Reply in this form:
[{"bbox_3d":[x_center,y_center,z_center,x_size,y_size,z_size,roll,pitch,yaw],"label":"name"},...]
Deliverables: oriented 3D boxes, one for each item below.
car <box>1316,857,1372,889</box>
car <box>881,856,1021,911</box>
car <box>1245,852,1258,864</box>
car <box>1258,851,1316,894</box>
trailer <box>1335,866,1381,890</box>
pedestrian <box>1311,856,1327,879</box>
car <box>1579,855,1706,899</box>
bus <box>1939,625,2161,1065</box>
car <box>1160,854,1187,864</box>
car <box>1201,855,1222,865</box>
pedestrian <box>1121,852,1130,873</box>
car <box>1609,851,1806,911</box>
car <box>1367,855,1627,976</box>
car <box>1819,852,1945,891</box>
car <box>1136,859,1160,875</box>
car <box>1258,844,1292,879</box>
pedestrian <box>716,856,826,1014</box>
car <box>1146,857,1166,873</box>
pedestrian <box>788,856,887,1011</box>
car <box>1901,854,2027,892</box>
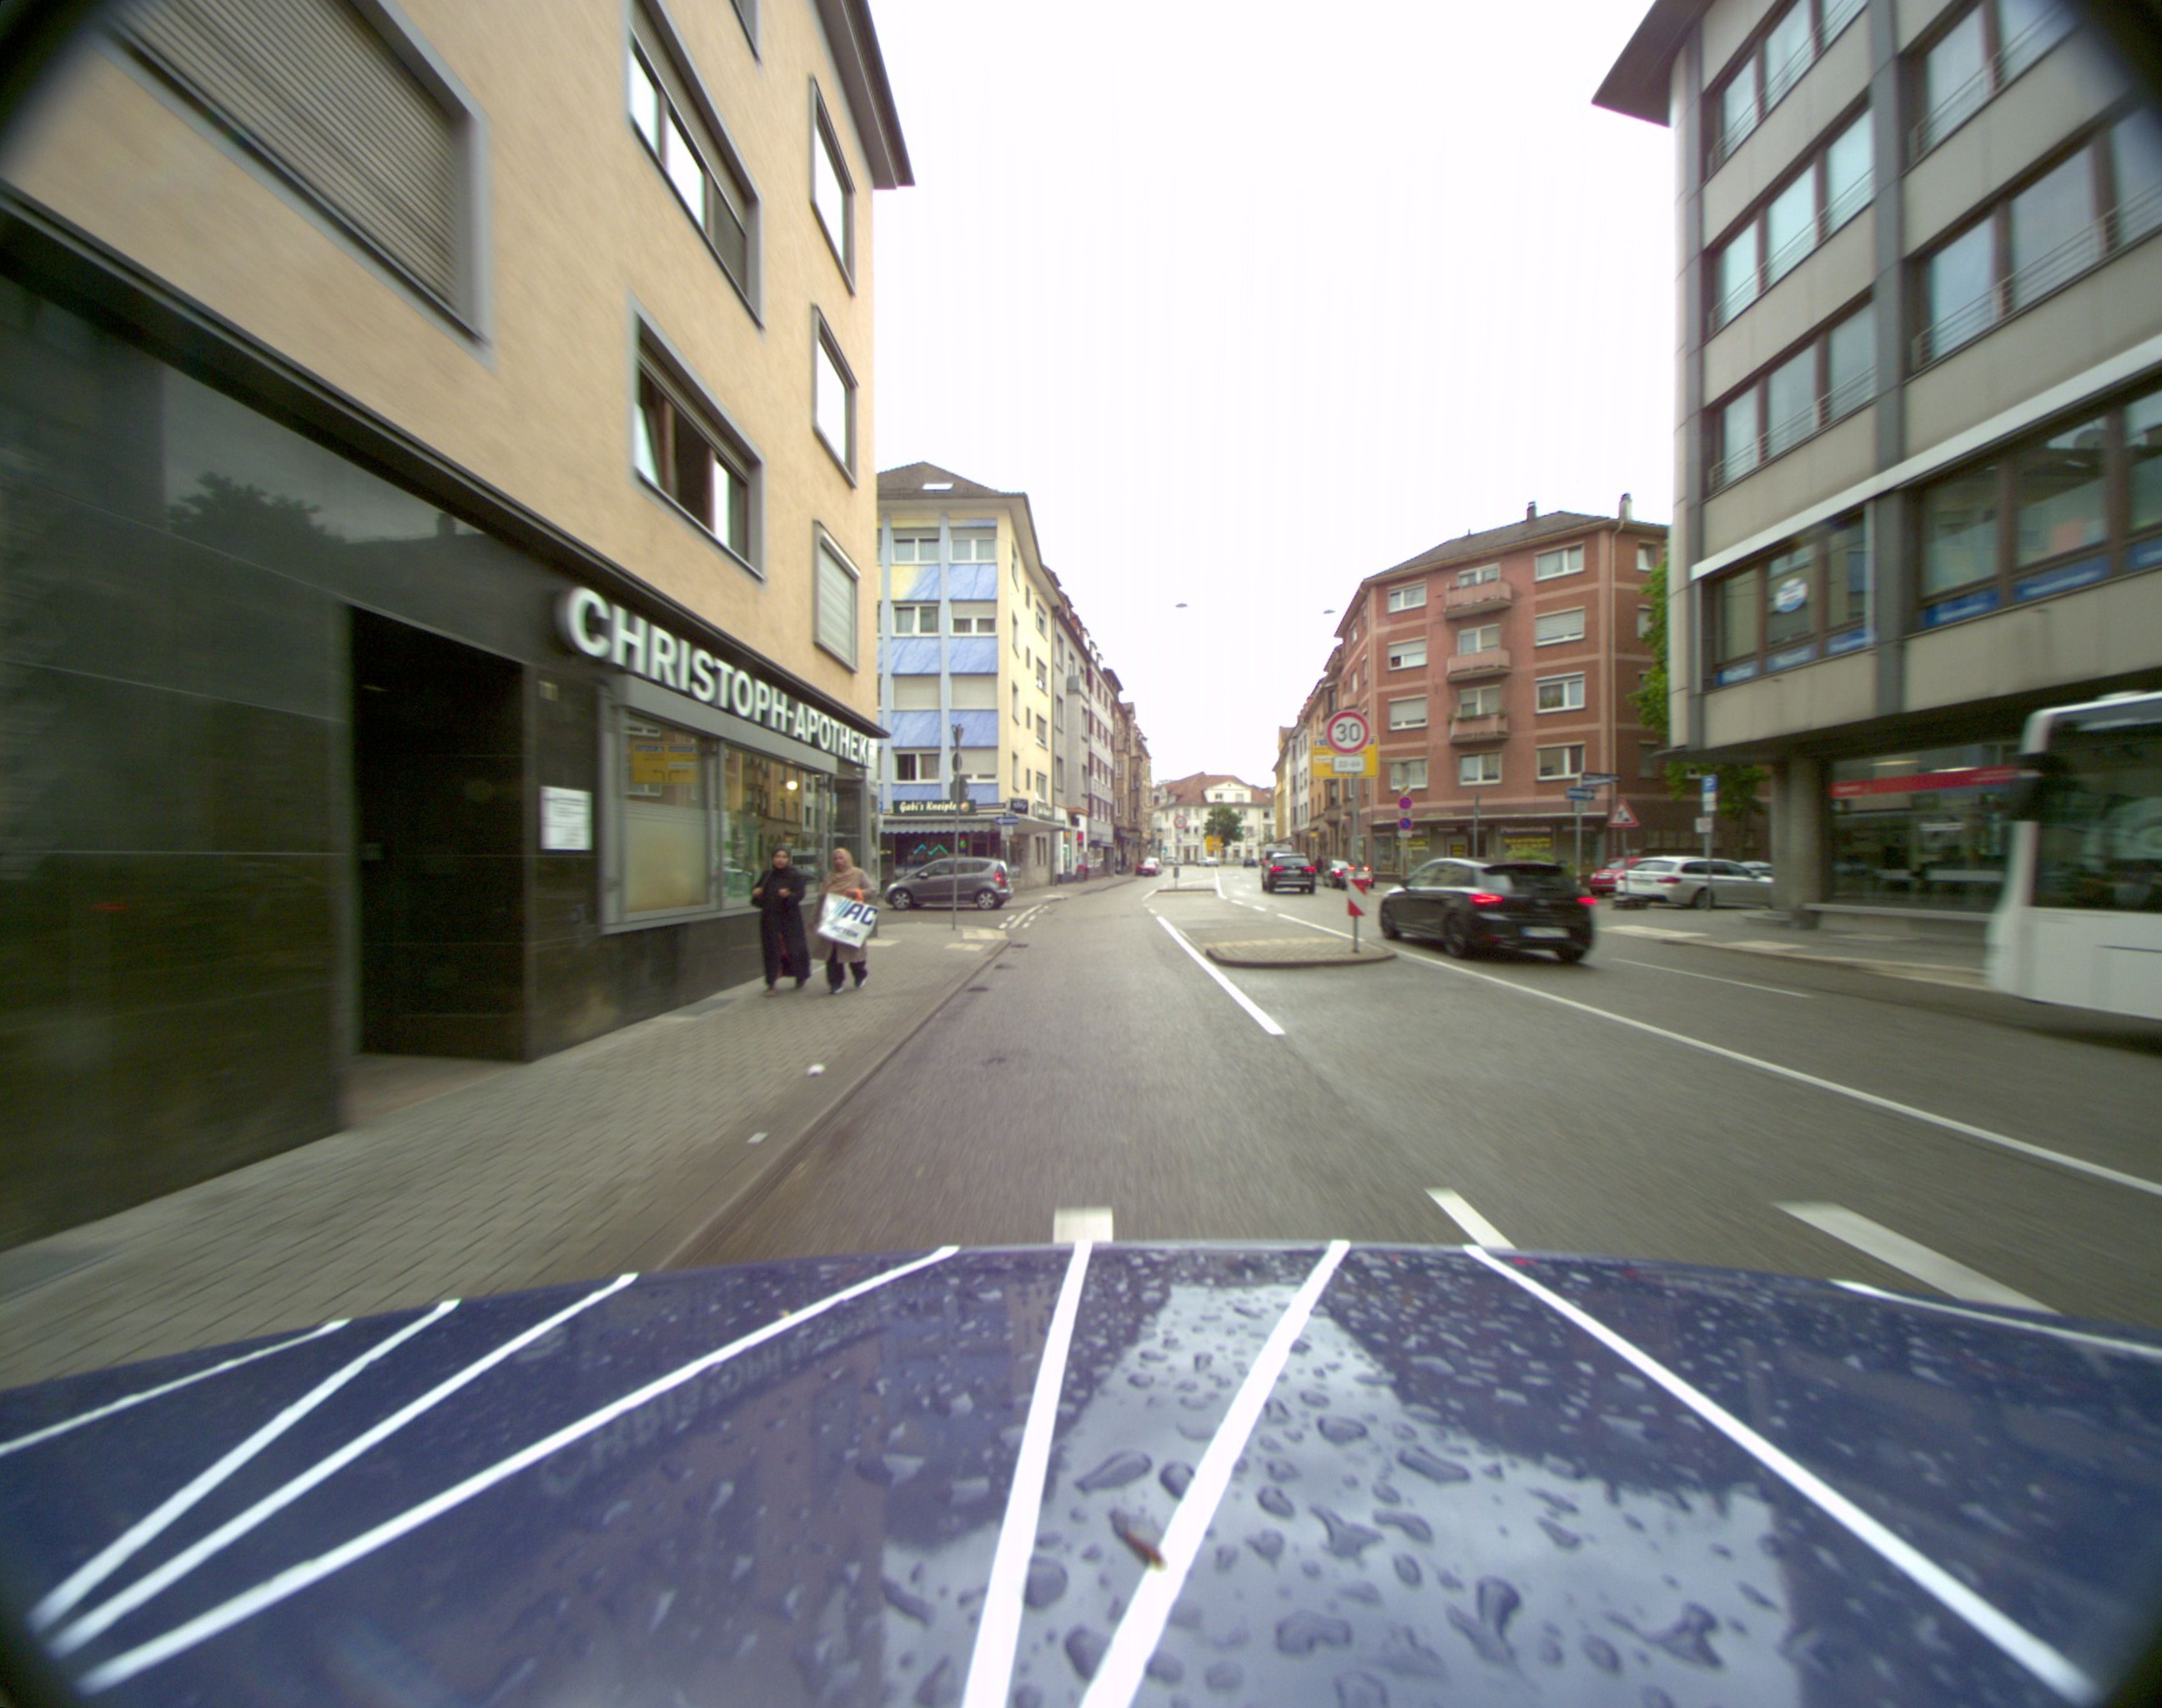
[{"bbox_3d":[13.370,0.921,38.896,1.853,1.389,4.796,-3,0,9],"label":"car"},{"bbox_3d":[-3.917,0.871,23.339,3.833,1.565,1.937,0,1,6],"label":"car"},{"bbox_3d":[24.280,0.511,108.232,1.757,1.642,4.310,0,1,11],"label":"car"},{"bbox_3d":[8.389,0.727,31.265,1.746,1.652,4.420,0,0,7],"label":"car"},{"bbox_3d":[12.709,1.102,35.000,1.590,0.944,3.059,-1,0,12],"label":"trailer"},{"bbox_3d":[18.387,1.049,58.677,0.844,1.669,0.853,-3,1,-3],"label":"pedestrian"},{"bbox_3d":[20.377,0.813,27.644,3.526,1.474,1.692,0,1,-8],"label":"car"},{"bbox_3d":[9.118,-0.028,2.421,2.765,3.170,8.911,0,1,1],"label":"bus"},{"bbox_3d":[14.958,0.780,123.335,1.952,1.574,4.509,-1,1,-33],"label":"car"},{"bbox_3d":[19.341,0.911,113.105,1.948,1.462,4.556,0,1,-5],"label":"car"},{"bbox_3d":[3.929,0.737,66.741,0.745,1.769,0.796,0,1,7],"label":"pedestrian"},{"bbox_3d":[17.555,0.707,21.346,4.646,1.524,1.903,0,1,-15],"label":"car"},{"bbox_3d":[5.943,0.765,11.495,1.713,1.443,4.085,0,1,0],"label":"car"},{"bbox_3d":[32.230,0.684,30.628,3.526,1.474,1.692,0,1,-6],"label":"car"},{"bbox_3d":[5.913,1.142,66.627,1.747,1.361,4.318,0,0,10],"label":"car"},{"bbox_3d":[14.176,0.479,55.738,2.089,2.421,6.358,0,1,12],"label":"car"},{"bbox_3d":[-3.210,0.804,7.955,0.770,1.551,0.876,0,1,0],"label":"pedestrian"},{"bbox_3d":[7.374,1.035,74.336,1.650,1.485,4.451,0,1,10],"label":"car"},{"bbox_3d":[-2.556,0.804,8.052,0.780,1.551,0.782,0,1,0],"label":"pedestrian"},{"bbox_3d":[36.403,0.758,31.374,3.526,1.474,1.692,0,1,-6],"label":"car"}]
